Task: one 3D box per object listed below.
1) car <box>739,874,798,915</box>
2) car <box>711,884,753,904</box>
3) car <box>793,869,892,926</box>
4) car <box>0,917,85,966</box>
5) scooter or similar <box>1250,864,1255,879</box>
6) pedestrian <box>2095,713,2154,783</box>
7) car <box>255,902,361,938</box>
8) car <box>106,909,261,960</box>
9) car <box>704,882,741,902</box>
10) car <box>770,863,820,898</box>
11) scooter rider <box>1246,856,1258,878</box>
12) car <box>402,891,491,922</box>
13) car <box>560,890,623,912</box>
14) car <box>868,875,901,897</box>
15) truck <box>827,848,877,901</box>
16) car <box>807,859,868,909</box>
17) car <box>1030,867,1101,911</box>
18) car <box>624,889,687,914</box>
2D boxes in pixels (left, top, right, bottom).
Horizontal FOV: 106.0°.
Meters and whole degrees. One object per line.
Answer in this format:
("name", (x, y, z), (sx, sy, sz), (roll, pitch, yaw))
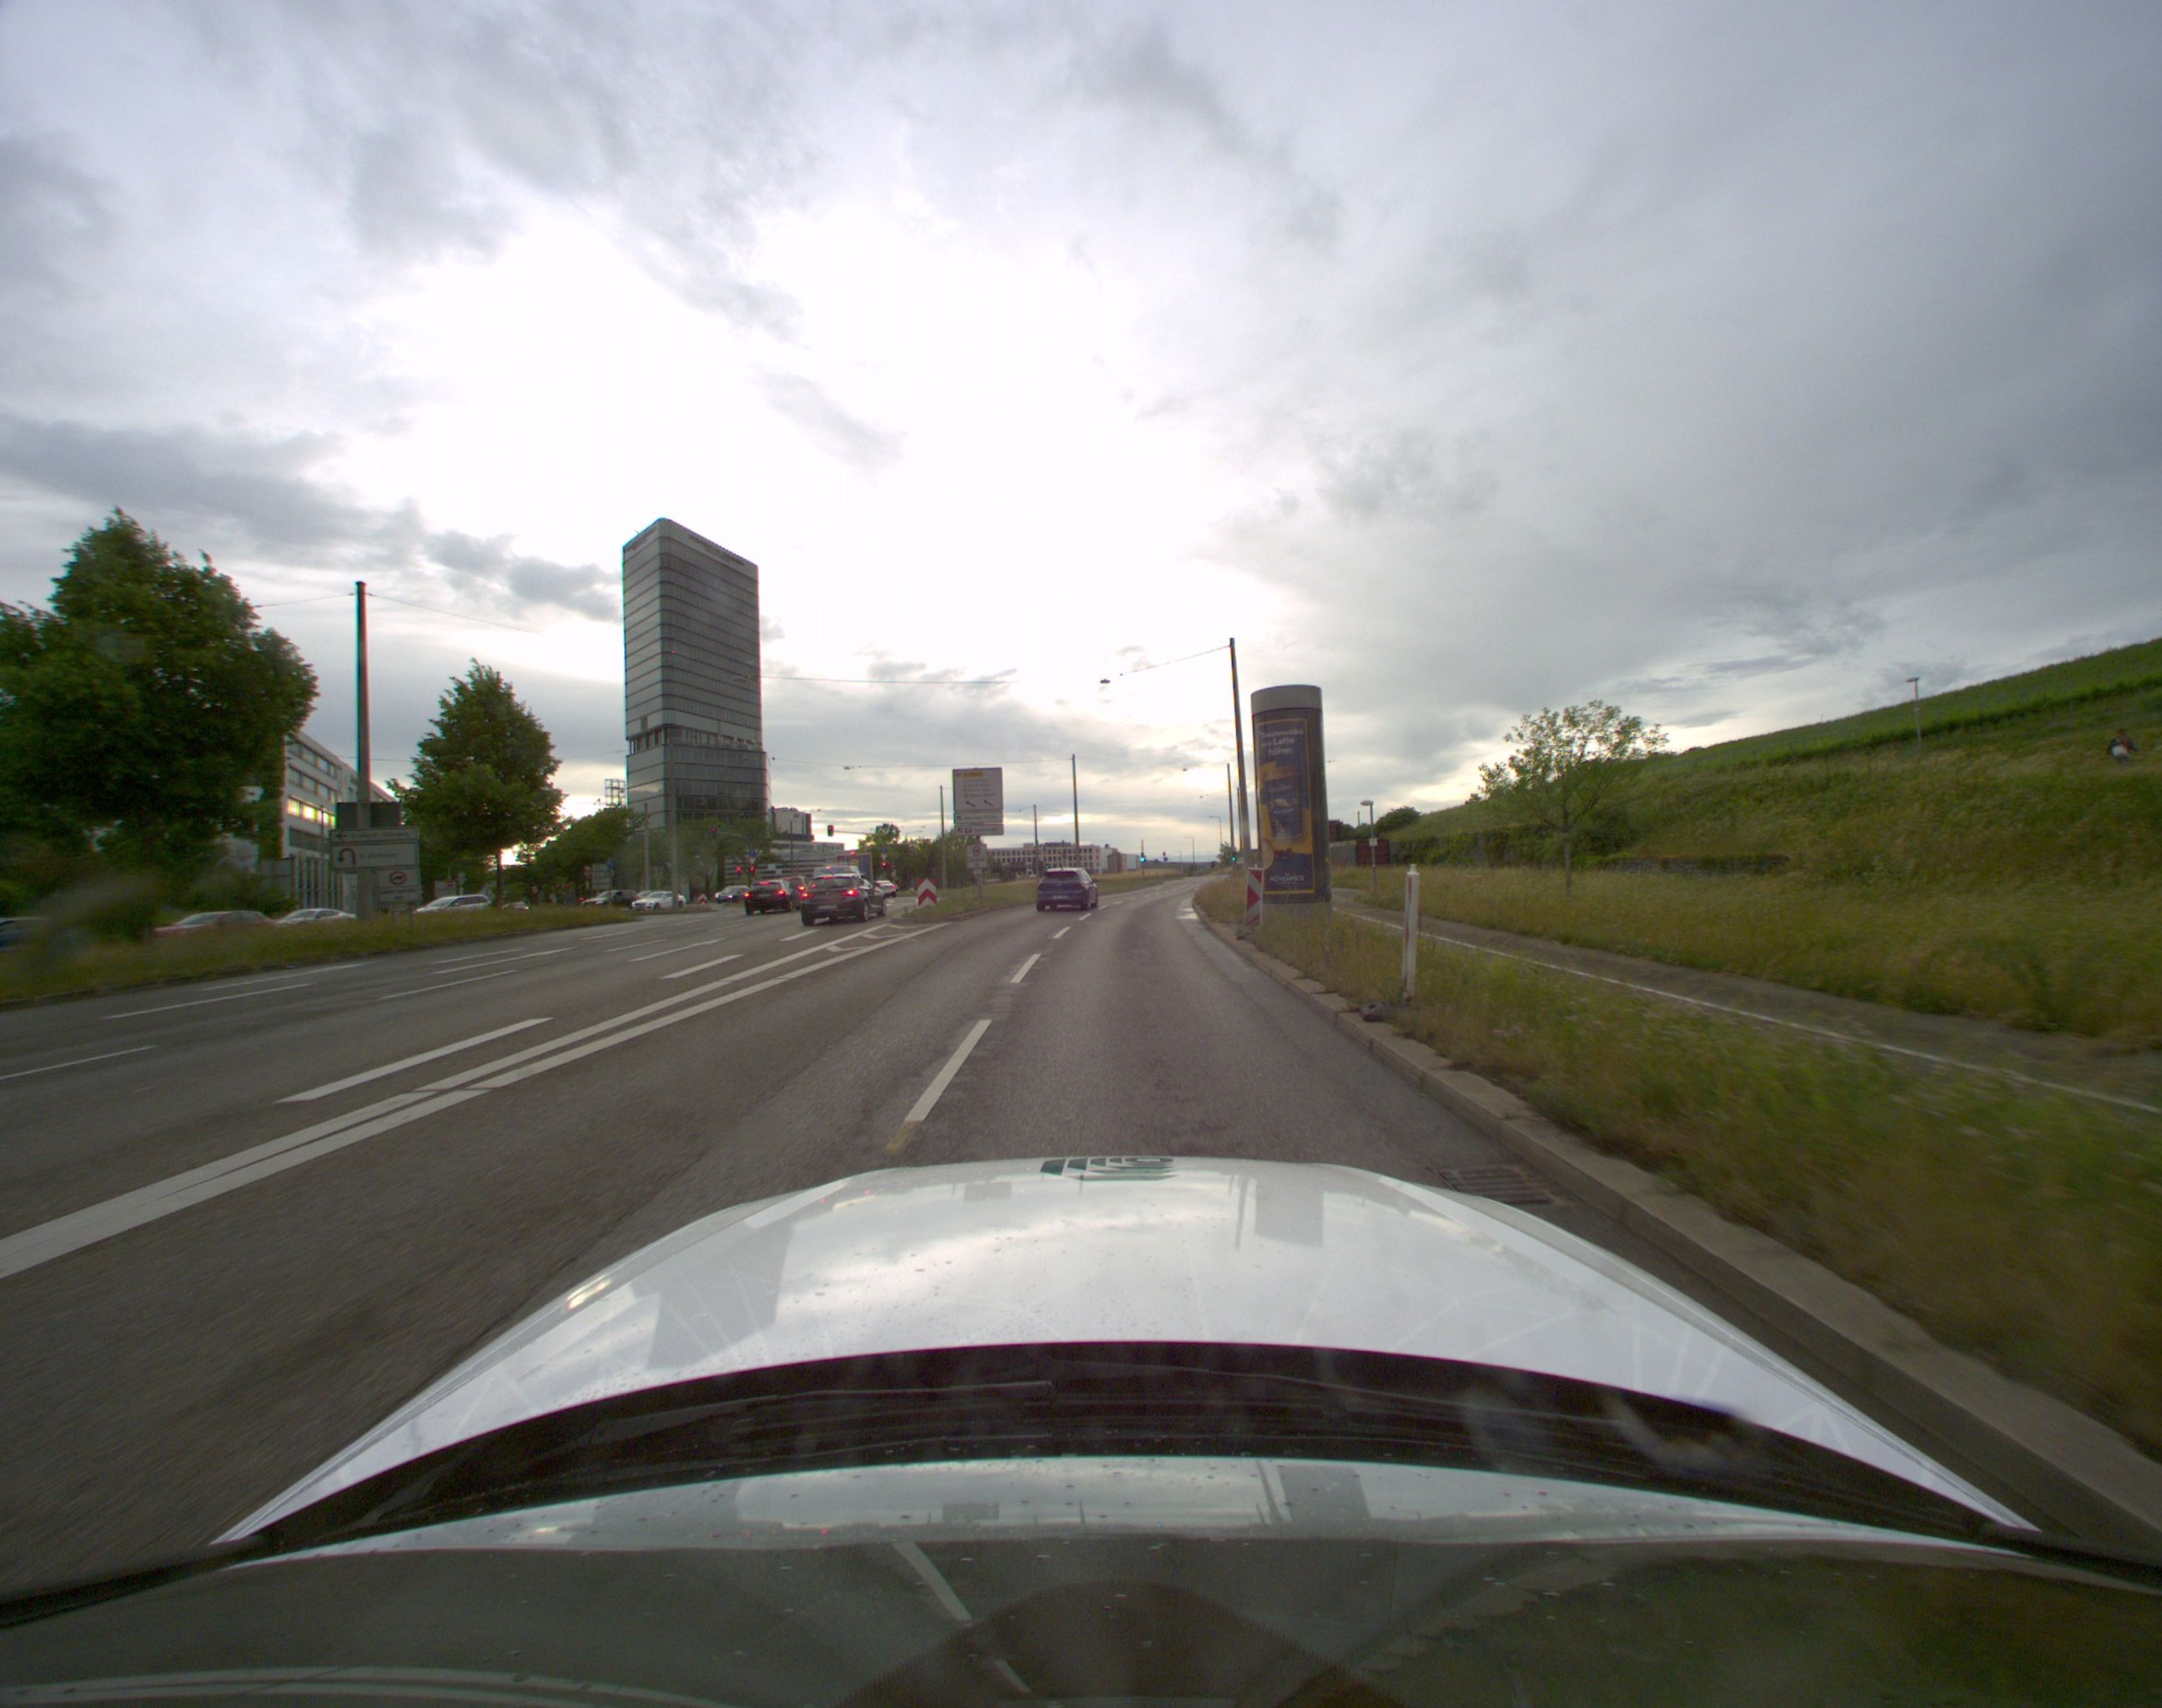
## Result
("car", (-13.520, 1.712, 35.421), (1.908, 1.564, 3.979), (-3, -1, -15))
("car", (-32.915, 3.753, 76.950), (1.817, 1.657, 3.923), (-2, -1, 9))
("car", (-6.934, 1.224, 24.102), (1.865, 1.461, 3.972), (-2, -1, -3))
("car", (-37.059, 3.040, 27.650), (1.876, 1.442, 3.969), (-2, 0, -9))
("scooter or similar", (13.209, 1.347, 62.681), (0.398, 1.196, 1.117), (0, -1, 11))
("pedestrian", (32.313, -3.266, 25.217), (0.784, 2.013, 1.044), (-4, 1, -35))
("car", (-37.929, 3.212, 40.110), (1.659, 1.392, 3.972), (-2, 0, -6))
("car", (-33.837, 2.985, 30.881), (1.910, 1.532, 3.984), (-2, 0, -12))
("car", (-36.188, 3.841, 82.308), (1.756, 1.838, 3.760), (-2, 0, 4))
("car", (-14.923, 1.334, 42.711), (1.839, 1.681, 4.056), (1, 0, -11))
("scooter rider", (13.242, 0.988, 62.917), (0.801, 1.628, 0.831), (-3, -1, 10))
("car", (-40.758, 3.337, 52.446), (1.987, 1.671, 4.744), (-1, -1, 0))
("car", (-37.125, 3.541, 61.903), (1.923, 1.484, 4.580), (-1, -1, 1))
("car", (-16.177, 2.649, 66.940), (1.928, 1.644, 4.355), (-1, -3, -24))
("truck", (-14.888, 1.300, 52.652), (2.675, 3.220, 6.505), (-1, -1, -19))
("car", (-10.829, 1.328, 36.597), (1.904, 1.973, 5.075), (-3, -1, -9))
("car", (-0.463, 1.187, 28.647), (1.827, 1.394, 4.009), (-1, -1, 8))
("car", (-32.423, 3.618, 62.211), (1.882, 1.658, 4.615), (-2, -1, 8))
